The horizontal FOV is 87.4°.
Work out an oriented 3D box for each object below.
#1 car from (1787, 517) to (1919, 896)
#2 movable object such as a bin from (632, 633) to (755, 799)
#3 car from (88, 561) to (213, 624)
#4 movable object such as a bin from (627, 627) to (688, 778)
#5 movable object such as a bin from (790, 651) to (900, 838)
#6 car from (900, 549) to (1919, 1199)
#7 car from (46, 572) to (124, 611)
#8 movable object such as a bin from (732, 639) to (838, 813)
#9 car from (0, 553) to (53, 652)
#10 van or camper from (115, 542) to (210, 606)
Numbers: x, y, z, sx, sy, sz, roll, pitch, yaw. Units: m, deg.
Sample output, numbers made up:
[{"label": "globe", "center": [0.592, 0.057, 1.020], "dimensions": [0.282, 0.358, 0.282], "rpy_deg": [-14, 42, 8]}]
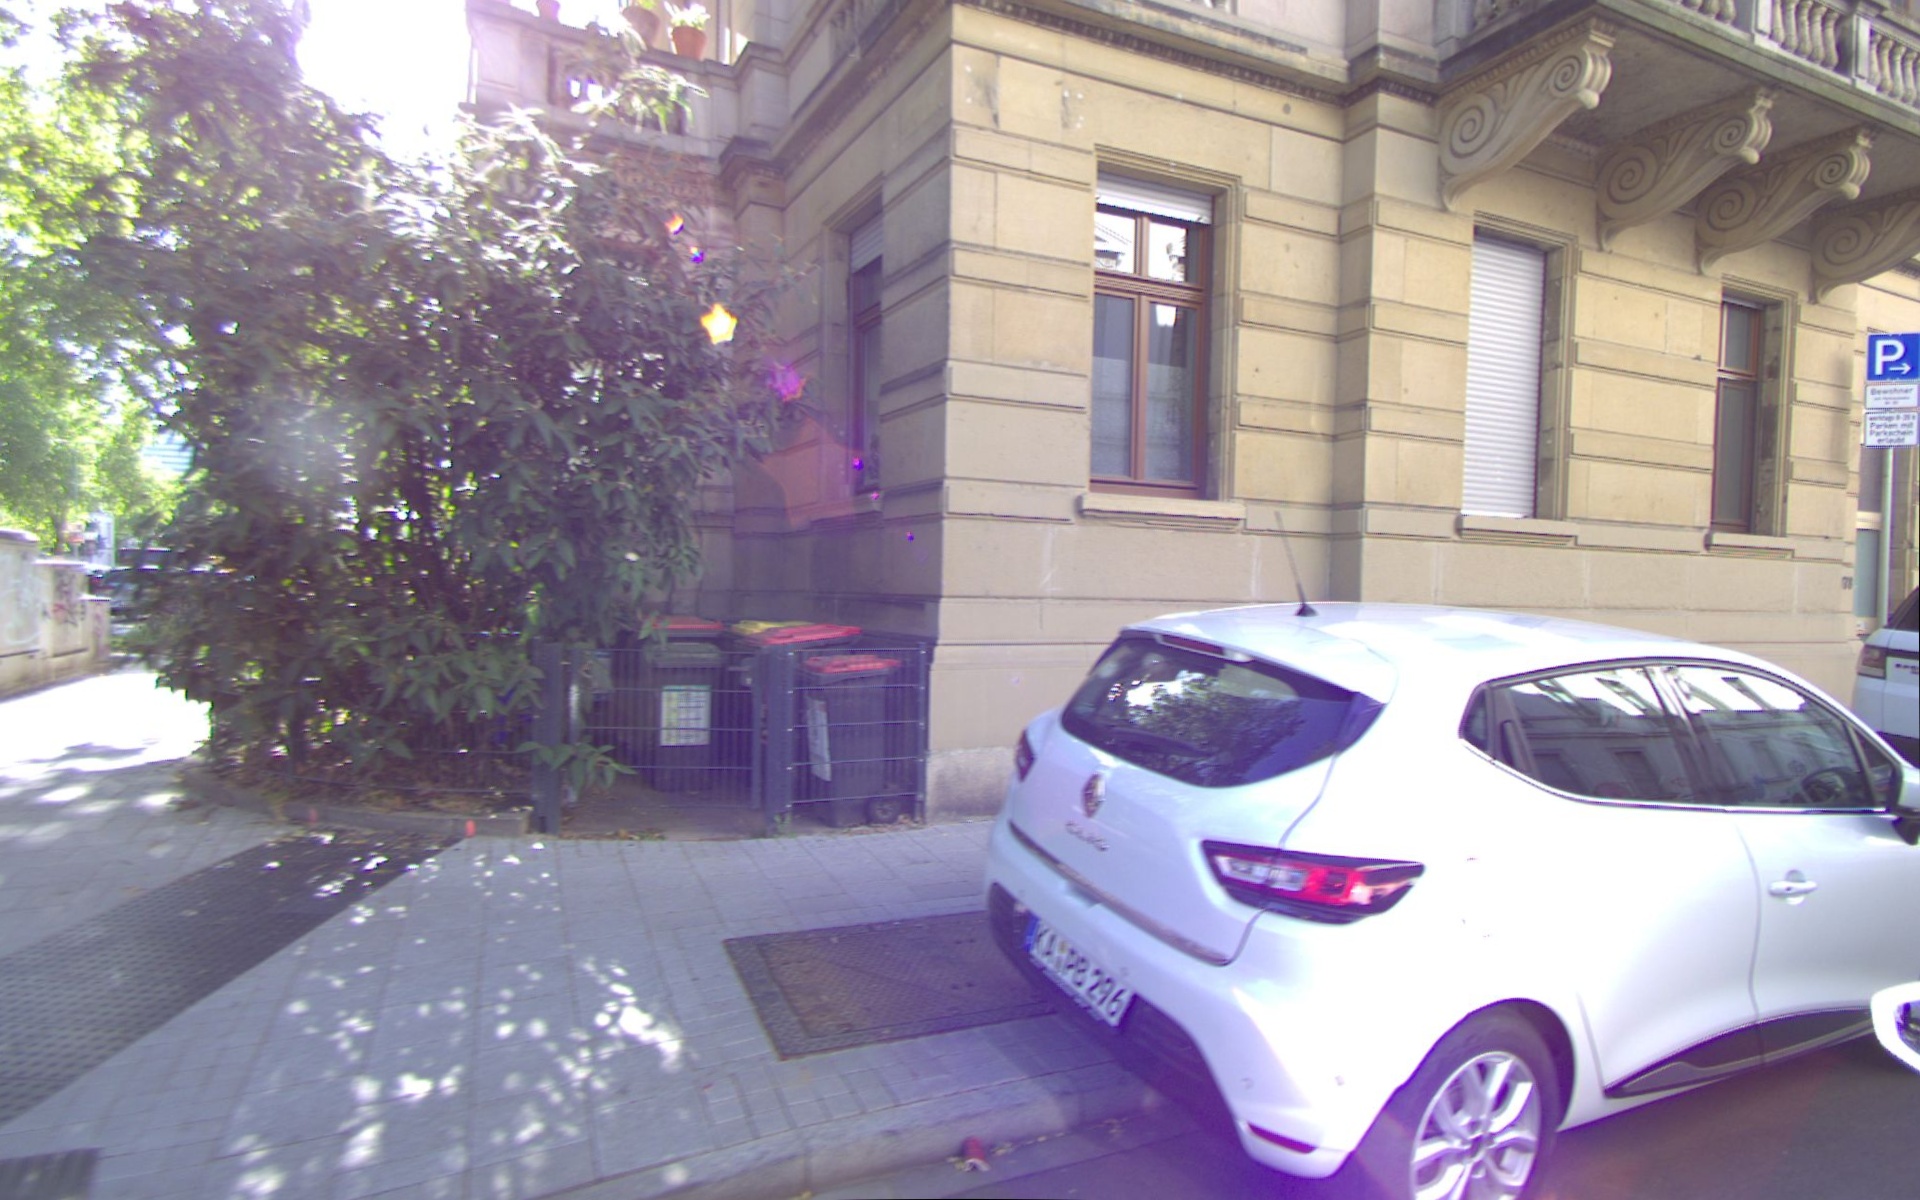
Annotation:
[{"label": "car", "center": [7.369, 0.617, 5.963], "dimensions": [4.480, 2.040, 2.016], "rpy_deg": [1, 1, -25]}, {"label": "movable object such as a bin", "center": [-1.736, 0.719, 6.512], "dimensions": [0.680, 0.983, 0.544], "rpy_deg": [1, 1, -25]}, {"label": "car", "center": [-22.040, -0.213, 27.513], "dimensions": [1.755, 1.589, 3.974], "rpy_deg": [0, 1, -25]}, {"label": "movable object such as a bin", "center": [-2.086, 0.687, 6.914], "dimensions": [0.340, 0.983, 0.380], "rpy_deg": [0, 1, -25]}, {"label": "movable object such as a bin", "center": [-0.660, 0.794, 5.704], "dimensions": [0.513, 0.983, 0.396], "rpy_deg": [0, 1, -25]}, {"label": "car", "center": [1.960, 0.714, 3.525], "dimensions": [3.890, 1.582, 1.860], "rpy_deg": [2, 2, -26]}, {"label": "car", "center": [-36.687, -0.381, 42.206], "dimensions": [1.604, 1.505, 3.707], "rpy_deg": [2, 0, -27]}, {"label": "movable object such as a bin", "center": [-1.085, 0.747, 6.184], "dimensions": [0.513, 0.983, 0.544], "rpy_deg": [0, 1, -25]}, {"label": "car", "center": [-16.443, 0.033, 16.230], "dimensions": [1.757, 1.589, 3.969], "rpy_deg": [0, 1, -29]}, {"label": "van or camper", "center": [-32.127, -1.017, 40.613], "dimensions": [2.225, 2.377, 4.503], "rpy_deg": [2, 0, -29]}]
